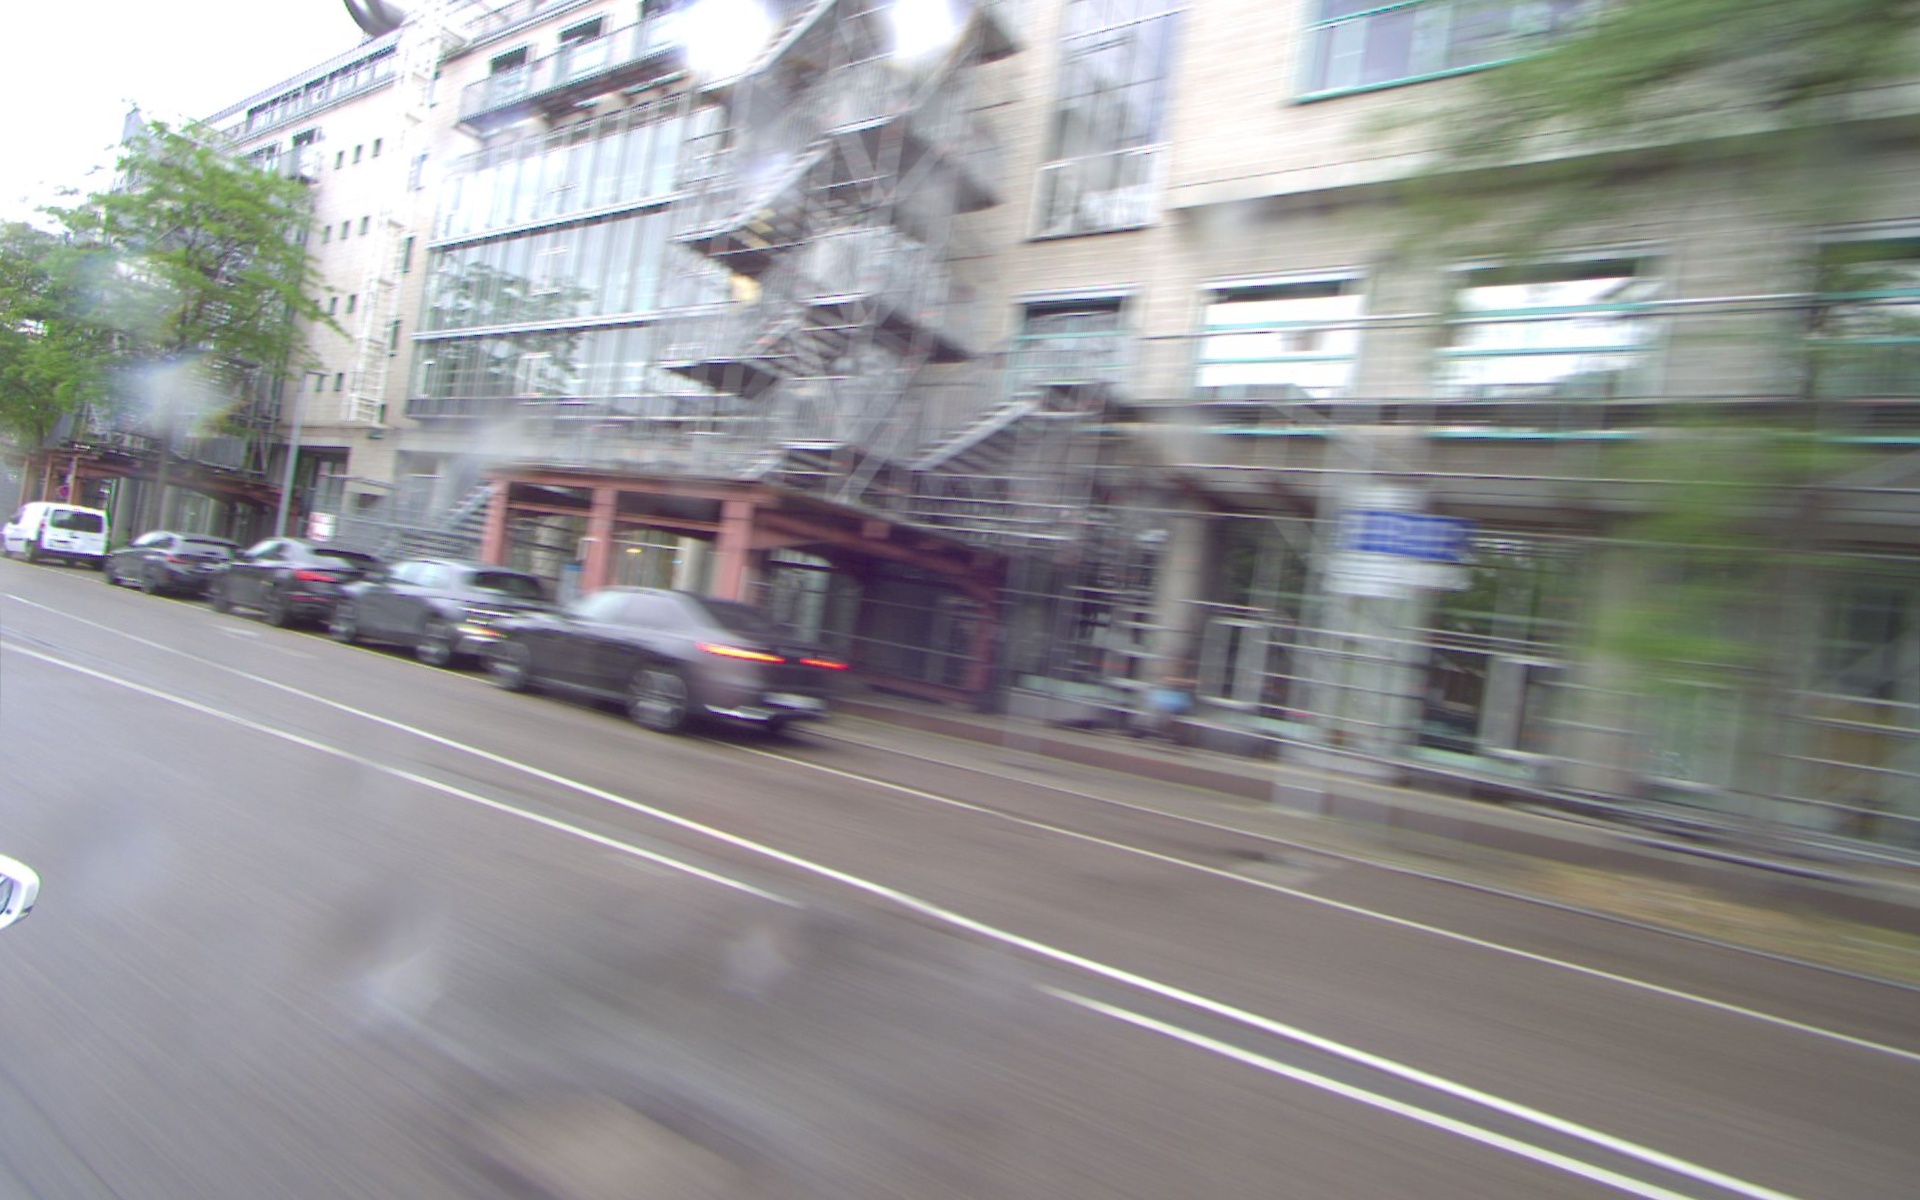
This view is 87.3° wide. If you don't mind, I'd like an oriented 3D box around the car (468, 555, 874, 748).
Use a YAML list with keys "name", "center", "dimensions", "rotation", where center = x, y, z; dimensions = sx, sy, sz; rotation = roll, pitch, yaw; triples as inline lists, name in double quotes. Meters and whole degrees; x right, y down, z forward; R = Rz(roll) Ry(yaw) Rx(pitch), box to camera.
- name: "car"
  center: [-3.721, 0.551, 12.378]
  dimensions: [5.210, 1.619, 1.994]
  rotation: [6, -2, 38]

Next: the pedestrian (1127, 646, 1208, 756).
- name: "pedestrian"
  center: [3.330, 1.610, 16.145]
  dimensions: [0.908, 1.614, 0.705]
  rotation: [7, -1, 33]

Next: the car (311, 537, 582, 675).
- name: "car"
  center: [-8.384, 0.061, 16.297]
  dimensions: [4.520, 1.619, 1.863]
  rotation: [6, -2, 35]

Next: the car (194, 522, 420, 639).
- name: "car"
  center: [-12.653, -0.420, 19.386]
  dimensions: [4.788, 1.665, 1.995]
  rotation: [6, -2, 37]

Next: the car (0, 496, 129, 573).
- name: "car"
  center: [-27.188, -1.994, 30.346]
  dimensions: [4.455, 1.770, 1.996]
  rotation: [6, -2, 35]

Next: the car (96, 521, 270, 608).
- name: "car"
  center: [-18.066, -0.851, 23.300]
  dimensions: [4.846, 1.454, 1.870]
  rotation: [6, -2, 37]

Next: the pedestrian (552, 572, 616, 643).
- name: "pedestrian"
  center: [-9.472, 0.202, 25.365]
  dimensions: [1.095, 1.614, 0.820]
  rotation: [7, -1, 30]
